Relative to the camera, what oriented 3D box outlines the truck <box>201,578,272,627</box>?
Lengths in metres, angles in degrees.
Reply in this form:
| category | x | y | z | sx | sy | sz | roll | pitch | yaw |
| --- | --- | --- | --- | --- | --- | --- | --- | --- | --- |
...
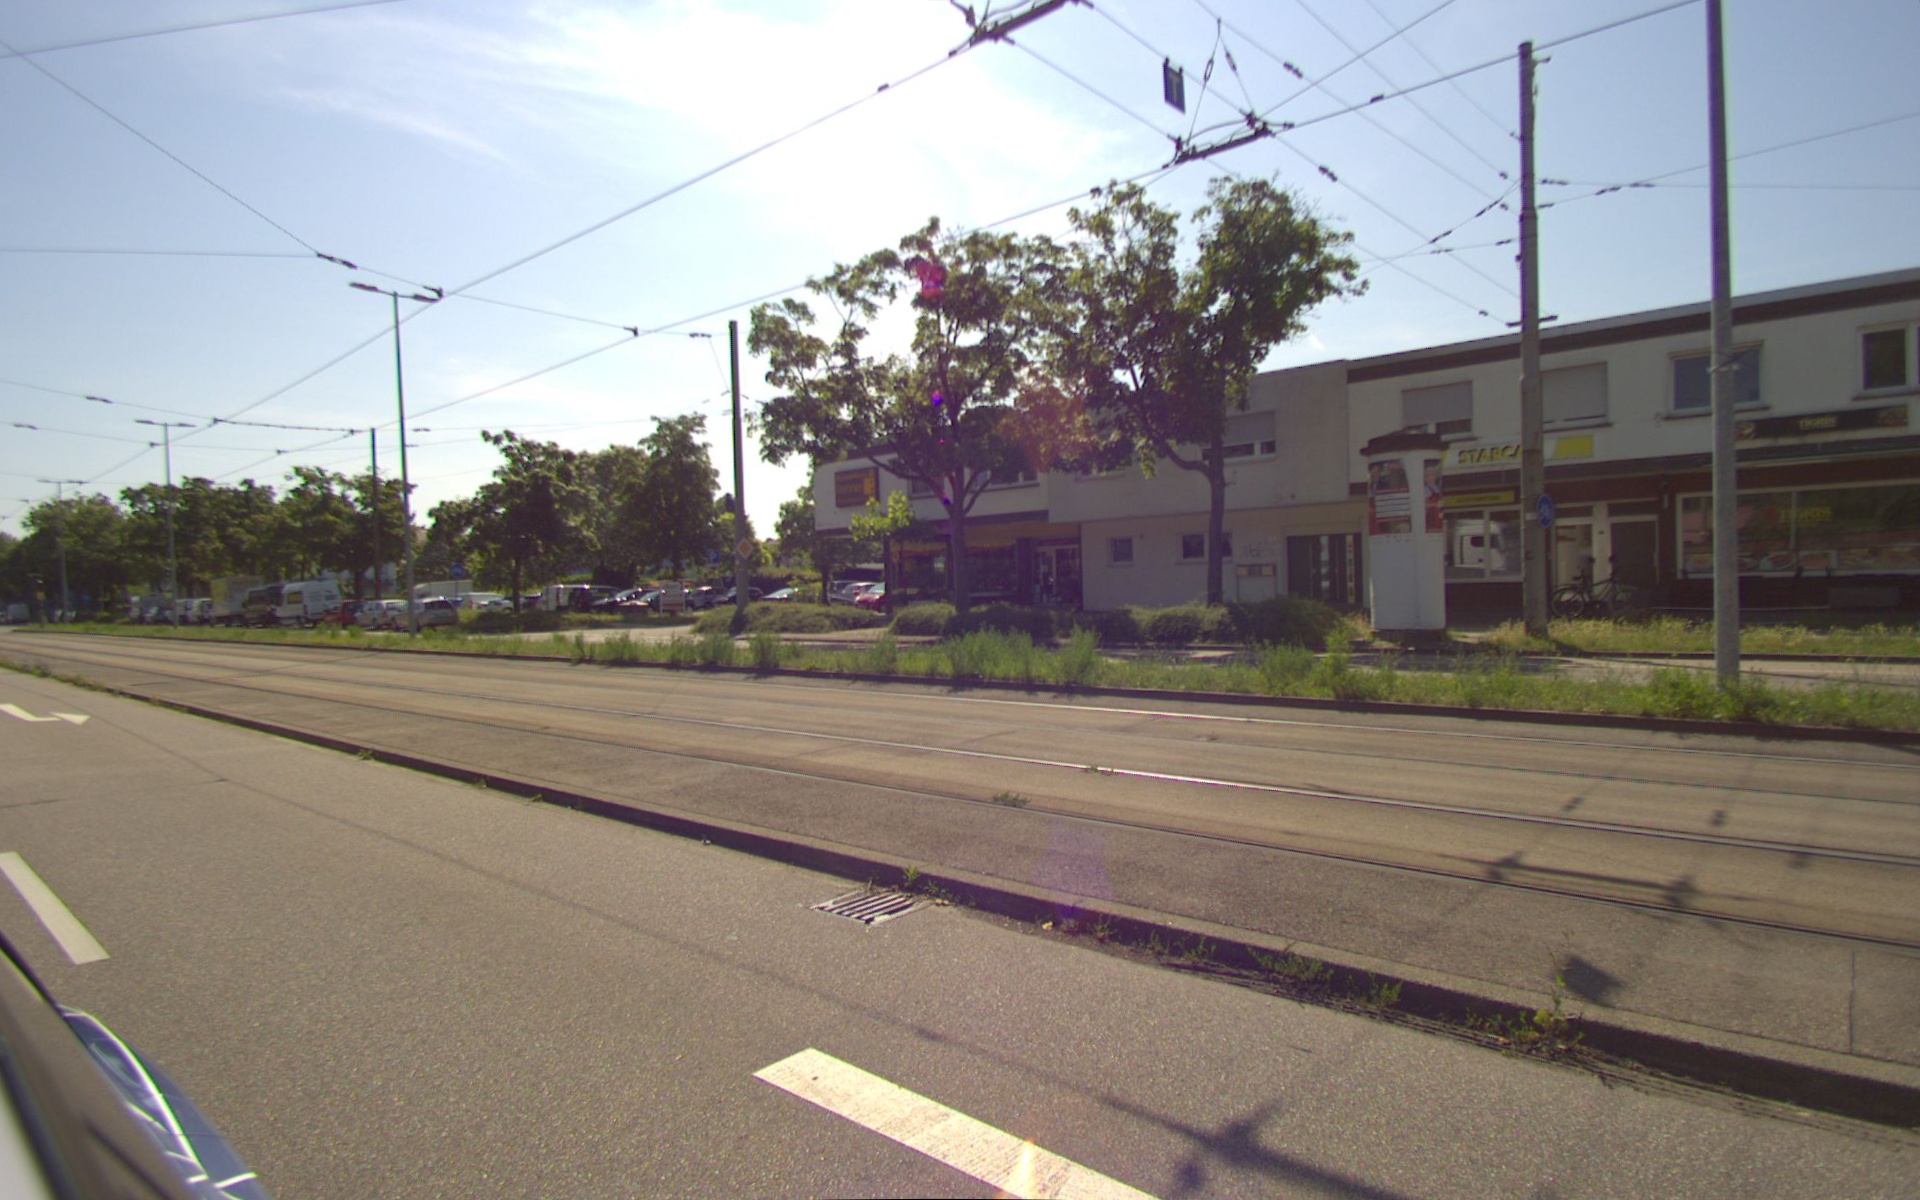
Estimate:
| category | x | y | z | sx | sy | sz | roll | pitch | yaw |
| --- | --- | --- | --- | --- | --- | --- | --- | --- | --- |
| truck | -48.310 | 0.207 | 67.496 | 5.902 | 2.956 | 2.476 | -1 | 4 | 42 |

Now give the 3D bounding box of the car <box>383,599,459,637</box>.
| category | x | y | z | sx | sy | sz | roll | pitch | yaw |
| --- | --- | --- | --- | --- | --- | --- | --- | --- | --- |
| car | -25.244 | 0.833 | 47.343 | 4.255 | 1.544 | 1.654 | -1 | 4 | 41 |

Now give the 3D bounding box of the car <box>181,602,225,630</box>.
| category | x | y | z | sx | sy | sz | roll | pitch | yaw |
| --- | --- | --- | --- | --- | --- | --- | --- | --- | --- |
| car | -54.731 | 1.146 | 73.143 | 4.631 | 1.817 | 1.483 | -1 | 4 | 41 |

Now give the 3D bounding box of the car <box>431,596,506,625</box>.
| category | x | y | z | sx | sy | sz | roll | pitch | yaw |
| --- | --- | --- | --- | --- | --- | --- | --- | --- | --- |
| car | -33.299 | 0.702 | 68.425 | 5.739 | 1.825 | 2.560 | -1 | 1 | 42 |

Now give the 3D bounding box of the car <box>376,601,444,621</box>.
| category | x | y | z | sx | sy | sz | roll | pitch | yaw |
| --- | --- | --- | --- | --- | --- | --- | --- | --- | --- |
| car | -42.068 | 0.805 | 77.440 | 1.676 | 1.345 | 4.198 | -1 | 1 | 41 |

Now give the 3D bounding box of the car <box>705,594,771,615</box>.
| category | x | y | z | sx | sy | sz | roll | pitch | yaw |
| --- | --- | --- | --- | --- | --- | --- | --- | --- | --- |
| car | -15.256 | 0.298 | 69.682 | 1.676 | 1.345 | 4.197 | -1 | 1 | 42 |

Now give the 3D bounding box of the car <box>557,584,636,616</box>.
| category | x | y | z | sx | sy | sz | roll | pitch | yaw |
| --- | --- | --- | --- | --- | --- | --- | --- | --- | --- |
| car | -20.249 | -0.007 | 56.486 | 1.676 | 1.646 | 3.761 | -1 | 1 | 42 |

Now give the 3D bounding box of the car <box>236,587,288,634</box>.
| category | x | y | z | sx | sy | sz | roll | pitch | yaw |
| --- | --- | --- | --- | --- | --- | --- | --- | --- | --- |
| car | -42.424 | 0.633 | 61.493 | 4.005 | 2.643 | 1.483 | -1 | 4 | 41 |

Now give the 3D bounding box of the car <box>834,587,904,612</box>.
| category | x | y | z | sx | sy | sz | roll | pitch | yaw |
| --- | --- | --- | --- | --- | --- | --- | --- | --- | --- |
| car | -5.525 | -0.034 | 61.755 | 1.676 | 1.345 | 4.197 | -1 | 1 | 42 |

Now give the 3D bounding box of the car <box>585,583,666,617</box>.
| category | x | y | z | sx | sy | sz | roll | pitch | yaw |
| --- | --- | --- | --- | --- | --- | --- | --- | --- | --- |
| car | -17.965 | -0.011 | 54.437 | 1.676 | 1.646 | 3.761 | -1 | 1 | 42 |

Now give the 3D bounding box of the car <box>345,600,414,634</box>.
| category | x | y | z | sx | sy | sz | roll | pitch | yaw |
| --- | --- | --- | --- | --- | --- | --- | --- | --- | --- |
| car | -29.307 | 0.860 | 51.034 | 4.255 | 1.544 | 1.654 | -1 | 4 | 41 |

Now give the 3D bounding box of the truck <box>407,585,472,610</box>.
| category | x | y | z | sx | sy | sz | roll | pitch | yaw |
| --- | --- | --- | --- | --- | --- | --- | --- | --- | --- |
| truck | -52.979 | -0.283 | 103.120 | 1.988 | 2.398 | 5.584 | -1 | 1 | 38 |

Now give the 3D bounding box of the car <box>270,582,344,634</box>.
| category | x | y | z | sx | sy | sz | roll | pitch | yaw |
| --- | --- | --- | --- | --- | --- | --- | --- | --- | --- |
| car | -37.252 | 0.467 | 57.658 | 5.201 | 2.673 | 2.036 | -1 | 4 | 41 |

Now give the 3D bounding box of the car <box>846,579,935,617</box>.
| category | x | y | z | sx | sy | sz | roll | pitch | yaw |
| --- | --- | --- | --- | --- | --- | --- | --- | --- | --- |
| car | -3.245 | -0.119 | 47.991 | 1.676 | 1.616 | 4.197 | -1 | 1 | 42 |

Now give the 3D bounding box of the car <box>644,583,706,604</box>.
| category | x | y | z | sx | sy | sz | roll | pitch | yaw |
| --- | --- | --- | --- | --- | --- | --- | --- | --- | --- |
| car | -21.023 | -0.489 | 74.797 | 1.674 | 1.345 | 4.201 | -1 | 1 | 39 |

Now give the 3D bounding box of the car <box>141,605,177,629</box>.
| category | x | y | z | sx | sy | sz | roll | pitch | yaw |
| --- | --- | --- | --- | --- | --- | --- | --- | --- | --- |
| car | -64.407 | 1.375 | 81.370 | 3.685 | 1.799 | 1.484 | -1 | 4 | 40 |

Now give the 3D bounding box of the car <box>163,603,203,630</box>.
| category | x | y | z | sx | sy | sz | roll | pitch | yaw |
| --- | --- | --- | --- | --- | --- | --- | --- | --- | --- |
| car | -59.744 | 1.288 | 77.832 | 4.056 | 1.859 | 1.484 | -1 | 4 | 40 |

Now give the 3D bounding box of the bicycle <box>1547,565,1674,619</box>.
| category | x | y | z | sx | sy | sz | roll | pitch | yaw |
| --- | --- | --- | --- | --- | --- | --- | --- | --- | --- |
| bicycle | 14.688 | -0.165 | 22.900 | 2.333 | 1.161 | 0.779 | -1 | -1 | 42 |

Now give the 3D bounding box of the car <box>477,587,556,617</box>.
| category | x | y | z | sx | sy | sz | roll | pitch | yaw |
| --- | --- | --- | --- | --- | --- | --- | --- | --- | --- |
| car | -28.025 | 0.119 | 64.006 | 1.988 | 1.751 | 4.068 | -1 | 1 | 38 |

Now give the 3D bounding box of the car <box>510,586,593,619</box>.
| category | x | y | z | sx | sy | sz | roll | pitch | yaw |
| --- | --- | --- | --- | --- | --- | --- | --- | --- | --- |
| car | -24.038 | 0.128 | 59.674 | 1.988 | 1.751 | 4.068 | -1 | 1 | 38 |

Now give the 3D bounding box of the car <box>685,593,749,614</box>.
| category | x | y | z | sx | sy | sz | roll | pitch | yaw |
| --- | --- | --- | --- | --- | --- | --- | --- | --- | --- |
| car | -17.128 | 0.245 | 71.414 | 1.676 | 1.345 | 4.197 | -1 | 1 | 42 |

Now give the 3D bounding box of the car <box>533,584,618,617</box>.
| category | x | y | z | sx | sy | sz | roll | pitch | yaw |
| --- | --- | --- | --- | --- | --- | --- | --- | --- | --- |
| car | -22.063 | -0.007 | 58.192 | 1.988 | 1.751 | 4.068 | -1 | 1 | 38 |

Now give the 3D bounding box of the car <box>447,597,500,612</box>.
| category | x | y | z | sx | sy | sz | roll | pitch | yaw |
| --- | --- | --- | --- | --- | --- | --- | --- | --- | --- |
| car | -45.990 | 0.419 | 95.689 | 1.676 | 1.345 | 4.198 | -1 | 1 | 41 |

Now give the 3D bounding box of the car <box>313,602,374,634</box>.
| category | x | y | z | sx | sy | sz | roll | pitch | yaw |
| --- | --- | --- | --- | --- | --- | --- | --- | --- | --- |
| car | -33.153 | 0.965 | 54.375 | 3.791 | 1.544 | 1.654 | -1 | 4 | 41 |
